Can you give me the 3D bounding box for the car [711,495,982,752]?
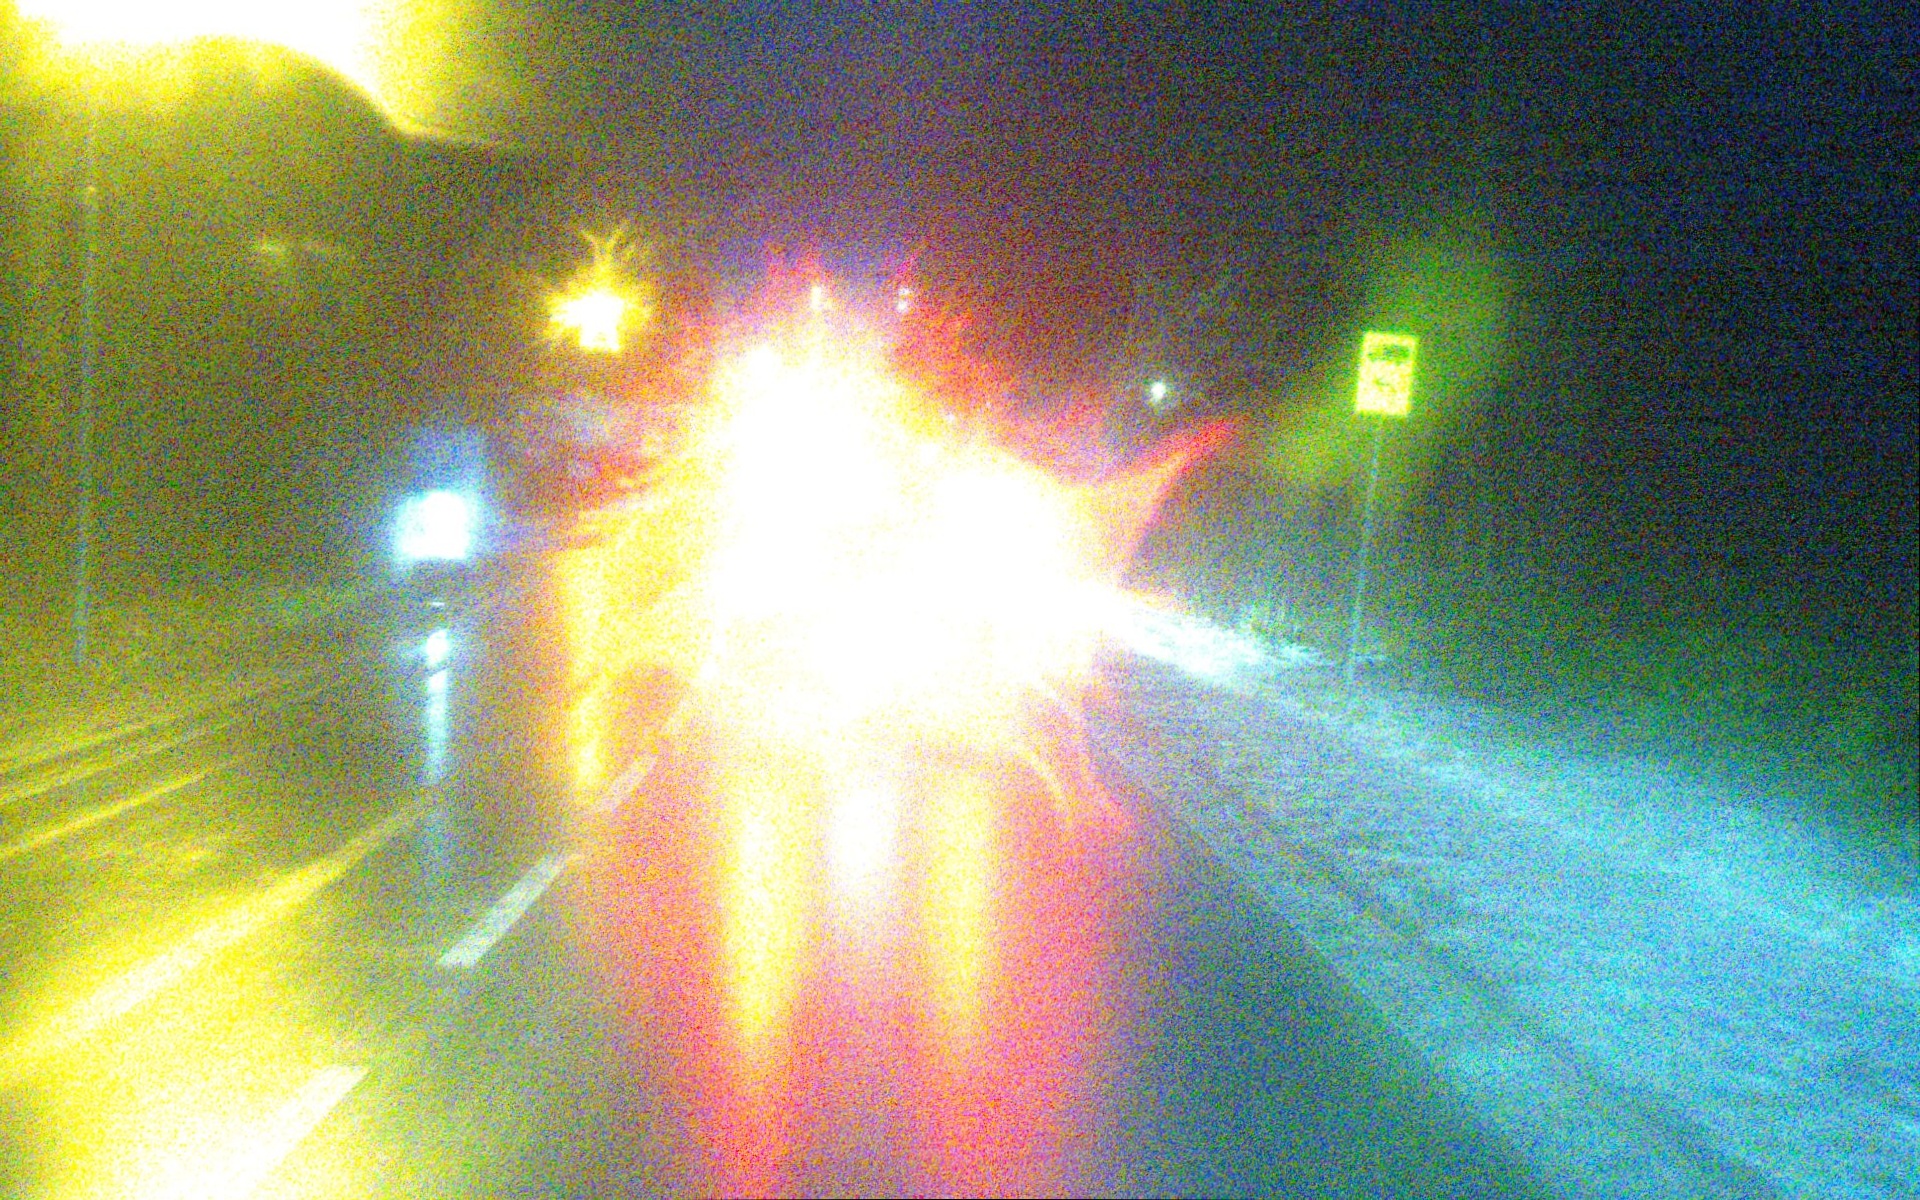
[{"bbox_3d":[-0.781,0.100,24.873,1.791,1.675,3.905,1,2,-1],"label":"car"}]
